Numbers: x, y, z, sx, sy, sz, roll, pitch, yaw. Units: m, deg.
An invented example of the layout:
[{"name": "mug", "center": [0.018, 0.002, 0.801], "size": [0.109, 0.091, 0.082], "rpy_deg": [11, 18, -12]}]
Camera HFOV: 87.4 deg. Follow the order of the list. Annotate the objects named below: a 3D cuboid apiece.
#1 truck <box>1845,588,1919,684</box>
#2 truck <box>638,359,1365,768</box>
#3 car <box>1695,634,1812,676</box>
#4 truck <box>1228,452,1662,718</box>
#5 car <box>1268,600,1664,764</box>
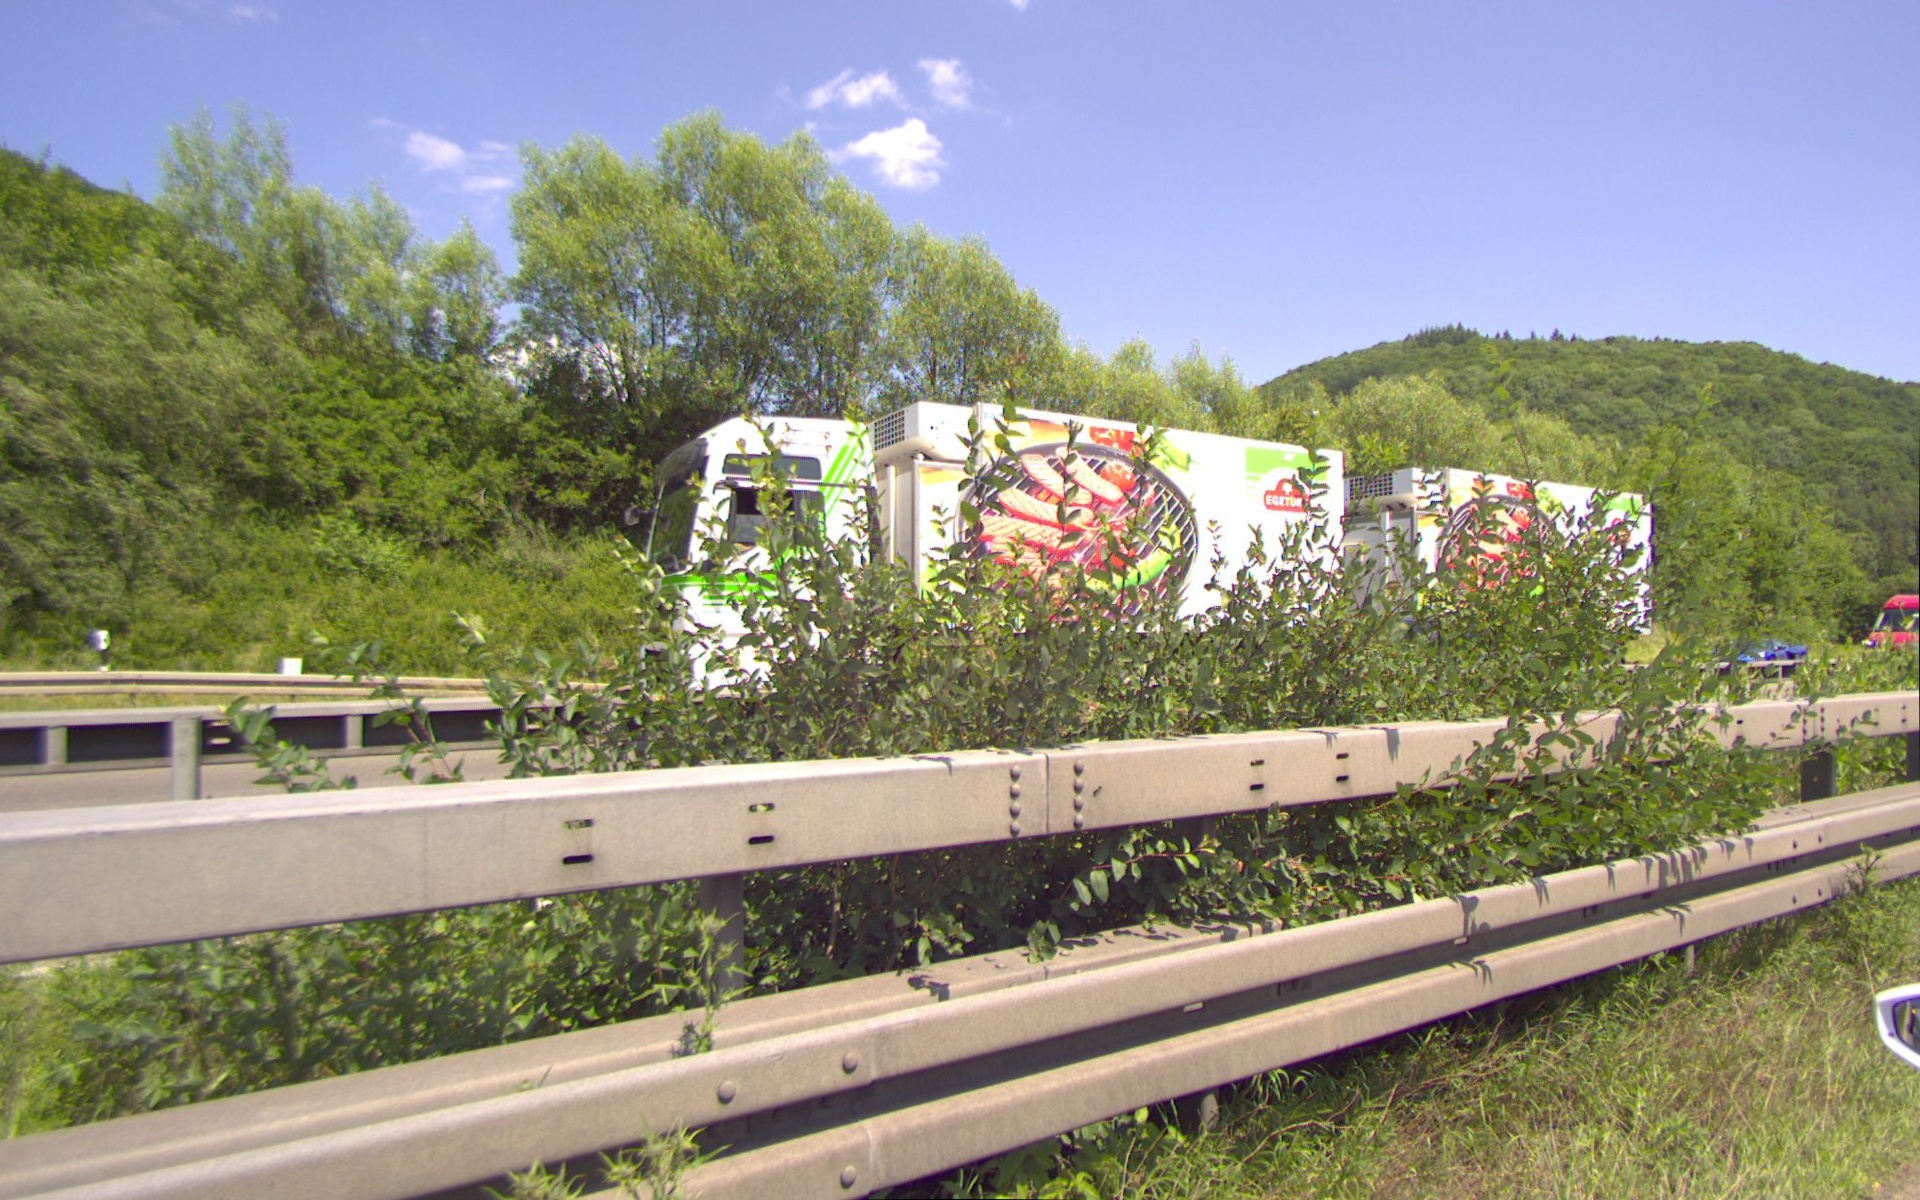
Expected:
[{"name": "truck", "center": [29.344, 1.044, 30.012], "size": [7.881, 2.623, 2.283], "rpy_deg": [1, 0, -33]}, {"name": "truck", "center": [1.053, -0.286, 13.802], "size": [10.053, 4.060, 2.855], "rpy_deg": [1, 0, -31]}, {"name": "car", "center": [28.106, 1.917, 35.574], "size": [4.060, 1.374, 1.983], "rpy_deg": [1, -1, -31]}, {"name": "truck", "center": [9.288, -0.159, 18.754], "size": [8.927, 4.033, 2.855], "rpy_deg": [1, 0, -31]}, {"name": "car", "center": [6.334, 0.883, 12.414], "size": [4.972, 1.663, 1.984], "rpy_deg": [1, 0, -30]}]
